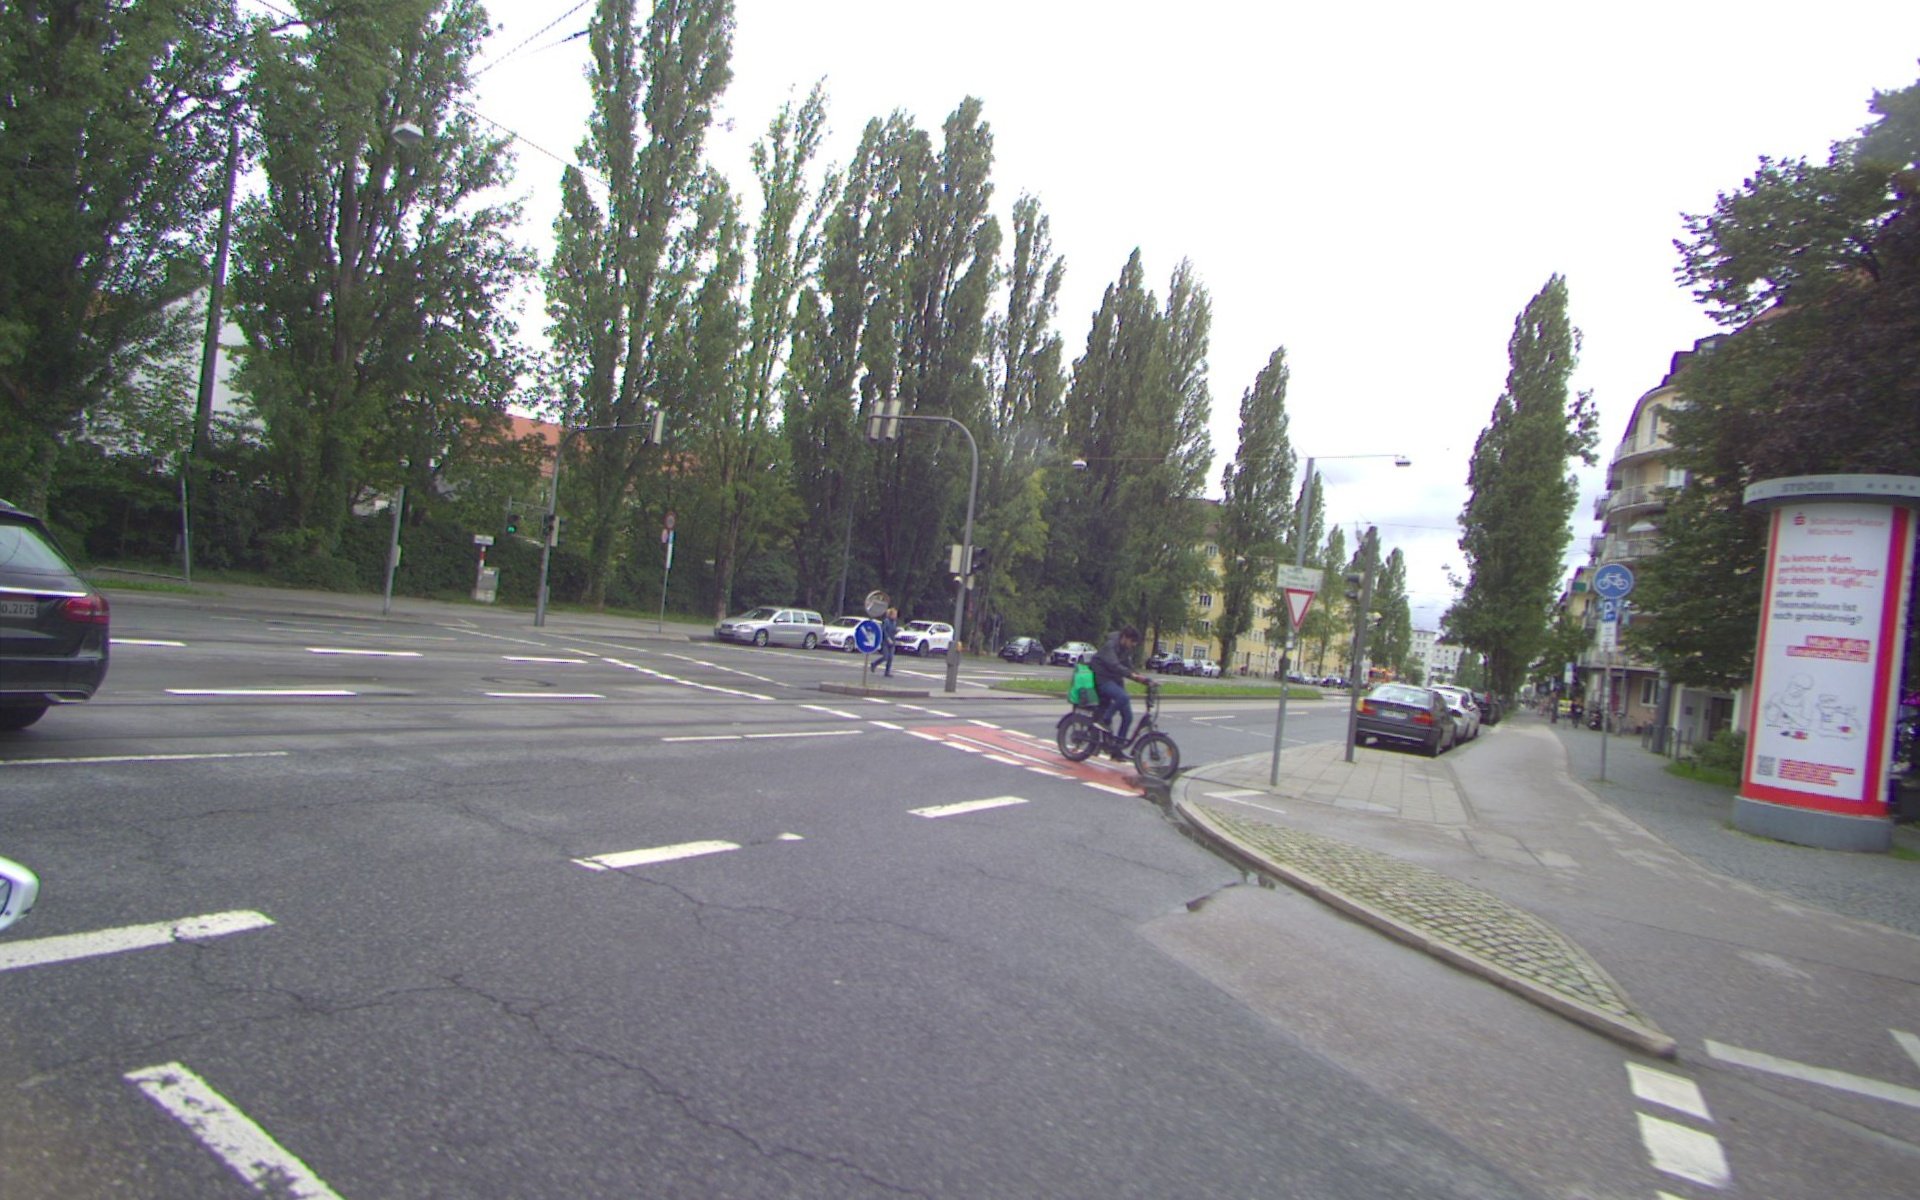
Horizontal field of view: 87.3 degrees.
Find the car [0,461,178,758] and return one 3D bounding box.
[{"bbox_3d":[-7.294,-0.223,5.792,4.614,1.567,1.871,7,-1,15],"label":"car"}]

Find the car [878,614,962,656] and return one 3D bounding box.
[{"bbox_3d":[-1.751,1.611,45.455,1.757,1.503,4.133,6,-1,30],"label":"car"}]

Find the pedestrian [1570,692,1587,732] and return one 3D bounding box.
[{"bbox_3d":[32.867,5.969,53.469,0.537,2.036,0.631,6,-2,25],"label":"pedestrian"}]

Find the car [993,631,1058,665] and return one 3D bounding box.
[{"bbox_3d":[3.602,2.641,54.829,1.757,1.503,4.133,6,-1,30],"label":"car"}]

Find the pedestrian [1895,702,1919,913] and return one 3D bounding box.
[{"bbox_3d":[8.238,1.730,8.285,0.537,1.683,0.718,6,3,34],"label":"pedestrian"}]

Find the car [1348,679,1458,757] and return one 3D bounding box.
[{"bbox_3d":[9.888,2.560,22.305,1.702,1.331,3.994,6,-1,30],"label":"car"}]

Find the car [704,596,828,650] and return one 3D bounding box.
[{"bbox_3d":[-6.916,0.863,36.352,1.758,1.503,4.343,6,-2,33],"label":"car"}]

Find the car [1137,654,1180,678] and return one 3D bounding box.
[{"bbox_3d":[15.025,4.971,75.962,1.757,1.503,4.133,6,-1,30],"label":"car"}]

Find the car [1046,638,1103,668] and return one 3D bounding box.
[{"bbox_3d":[6.980,3.213,60.964,1.757,1.503,4.133,6,-1,30],"label":"car"}]

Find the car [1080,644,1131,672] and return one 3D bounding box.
[{"bbox_3d":[9.534,3.821,65.721,1.757,1.503,4.133,6,-1,30],"label":"car"}]

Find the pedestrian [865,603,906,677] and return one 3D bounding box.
[{"bbox_3d":[-1.802,0.956,24.198,0.691,1.681,0.551,7,-2,-15],"label":"pedestrian"}]

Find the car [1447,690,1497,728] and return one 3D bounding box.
[{"bbox_3d":[23.505,4.956,46.113,1.702,1.424,4.468,6,-1,30],"label":"car"}]

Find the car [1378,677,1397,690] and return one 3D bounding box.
[{"bbox_3d":[58.199,11.425,136.816,1.757,1.503,4.133,6,-1,30],"label":"car"}]

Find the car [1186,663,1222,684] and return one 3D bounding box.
[{"bbox_3d":[20.911,6.298,86.068,1.757,1.503,4.133,6,-1,30],"label":"car"}]

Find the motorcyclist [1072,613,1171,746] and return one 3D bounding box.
[{"bbox_3d":[1.942,0.956,12.072,0.867,1.459,0.620,6,-2,30],"label":"motorcyclist"}]

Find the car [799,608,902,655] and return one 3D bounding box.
[{"bbox_3d":[-4.393,1.326,40.901,1.758,1.503,4.249,6,-2,33],"label":"car"}]

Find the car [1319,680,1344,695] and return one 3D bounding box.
[{"bbox_3d":[41.237,9.727,111.644,1.757,1.503,4.133,6,-1,30],"label":"car"}]

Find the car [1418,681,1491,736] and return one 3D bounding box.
[{"bbox_3d":[16.034,3.474,32.524,1.702,1.424,4.369,6,-1,30],"label":"car"}]

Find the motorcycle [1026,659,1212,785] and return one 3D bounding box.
[{"bbox_3d":[1.881,1.432,12.049,1.995,1.183,0.630,6,-2,31],"label":"motorcycle"}]

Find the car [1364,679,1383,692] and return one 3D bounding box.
[{"bbox_3d":[59.874,12.390,145.648,1.757,1.503,4.133,6,-1,30],"label":"car"}]

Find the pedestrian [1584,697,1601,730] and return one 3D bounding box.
[{"bbox_3d":[33.403,5.991,53.137,0.537,1.683,0.652,6,-2,25],"label":"pedestrian"}]

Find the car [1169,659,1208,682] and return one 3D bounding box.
[{"bbox_3d":[18.589,5.742,81.746,1.757,1.503,4.133,6,-1,30],"label":"car"}]

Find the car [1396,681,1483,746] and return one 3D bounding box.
[{"bbox_3d":[13.287,3.087,27.731,1.702,1.424,4.369,6,-1,30],"label":"car"}]
